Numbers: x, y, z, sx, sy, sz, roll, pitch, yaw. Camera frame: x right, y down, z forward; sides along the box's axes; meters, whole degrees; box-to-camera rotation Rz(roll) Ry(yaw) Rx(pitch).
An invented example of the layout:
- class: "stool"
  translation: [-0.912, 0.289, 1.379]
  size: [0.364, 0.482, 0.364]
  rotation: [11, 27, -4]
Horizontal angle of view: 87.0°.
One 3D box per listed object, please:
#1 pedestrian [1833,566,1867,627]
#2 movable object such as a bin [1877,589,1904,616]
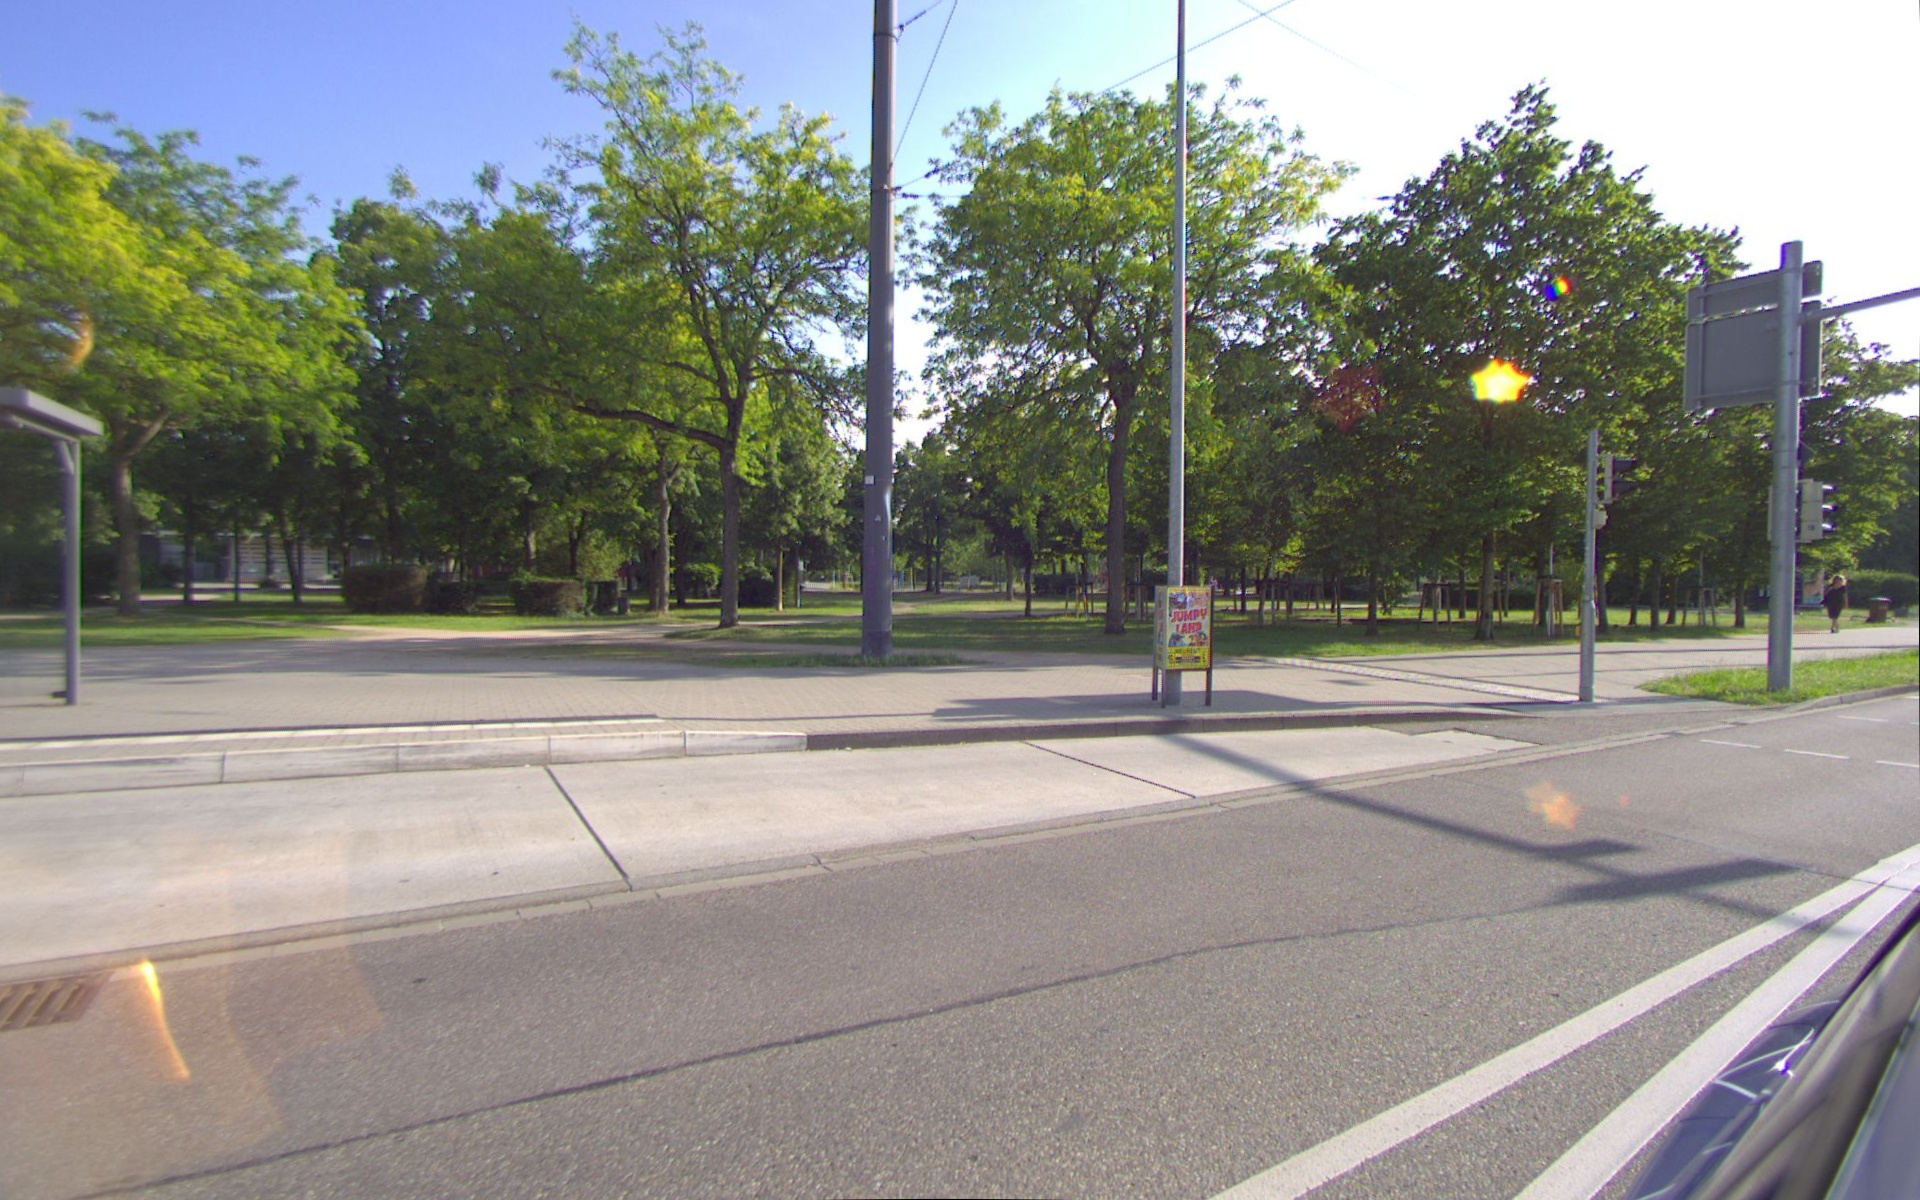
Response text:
- class: "pedestrian"
  translation: [25.572, -0.114, 29.069]
  size: [0.649, 1.722, 0.559]
  rotation: [0, 1, -34]
- class: "movable object such as a bin"
  translation: [33.284, 0.085, 36.201]
  size: [0.515, 0.915, 0.503]
  rotation: [0, 1, 6]
